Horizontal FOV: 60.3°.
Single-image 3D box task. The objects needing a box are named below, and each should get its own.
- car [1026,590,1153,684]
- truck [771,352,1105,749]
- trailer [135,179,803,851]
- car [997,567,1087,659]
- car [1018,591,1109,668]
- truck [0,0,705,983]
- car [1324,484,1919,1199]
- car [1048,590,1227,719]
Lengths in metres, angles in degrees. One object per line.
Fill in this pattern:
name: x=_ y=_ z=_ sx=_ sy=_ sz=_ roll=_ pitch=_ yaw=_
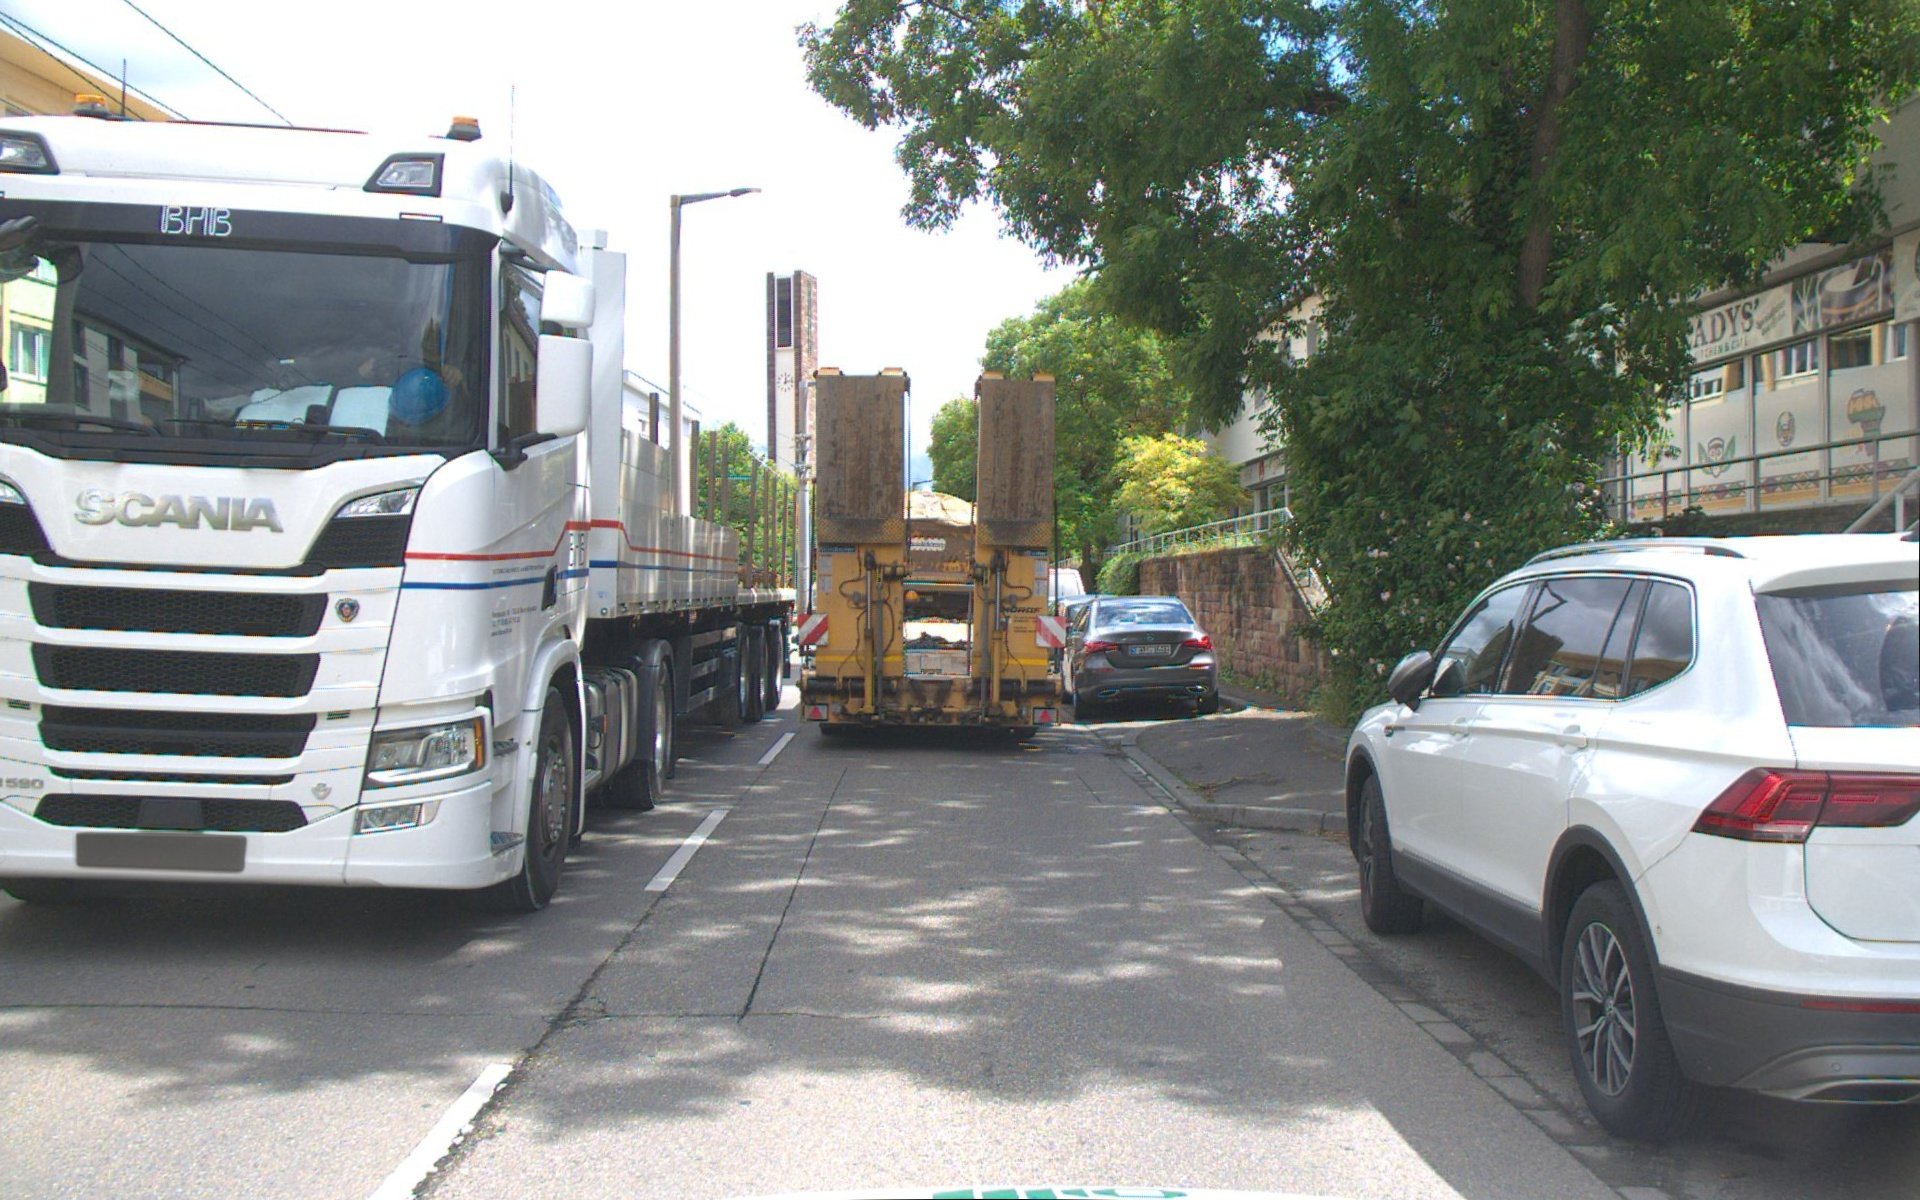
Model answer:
car: x=2.158 y=0.582 z=28.550 sx=1.656 sy=1.430 sz=4.066 roll=-1 pitch=1 yaw=-3
truck: x=-0.391 y=-0.538 z=21.408 sx=3.061 sy=3.626 sz=12.455 roll=0 pitch=1 yaw=-2
trailer: x=-3.346 y=-0.550 z=15.932 sx=2.643 sy=3.642 sz=13.671 roll=1 pitch=1 yaw=-2
car: x=1.870 y=0.253 z=39.143 sx=1.763 sy=2.003 sz=4.589 roll=-1 pitch=1 yaw=-1
car: x=2.061 y=0.561 z=33.732 sx=1.588 sy=1.430 sz=3.649 roll=-1 pitch=1 yaw=0
truck: x=-3.162 y=-0.458 z=9.171 sx=2.643 sy=3.643 sz=6.143 roll=1 pitch=1 yaw=-2
car: x=2.692 y=0.560 z=5.929 sx=1.786 sy=1.711 sz=4.576 roll=-1 pitch=1 yaw=0
car: x=2.184 y=0.617 z=21.433 sx=1.798 sy=1.430 sz=4.413 roll=-1 pitch=1 yaw=0
